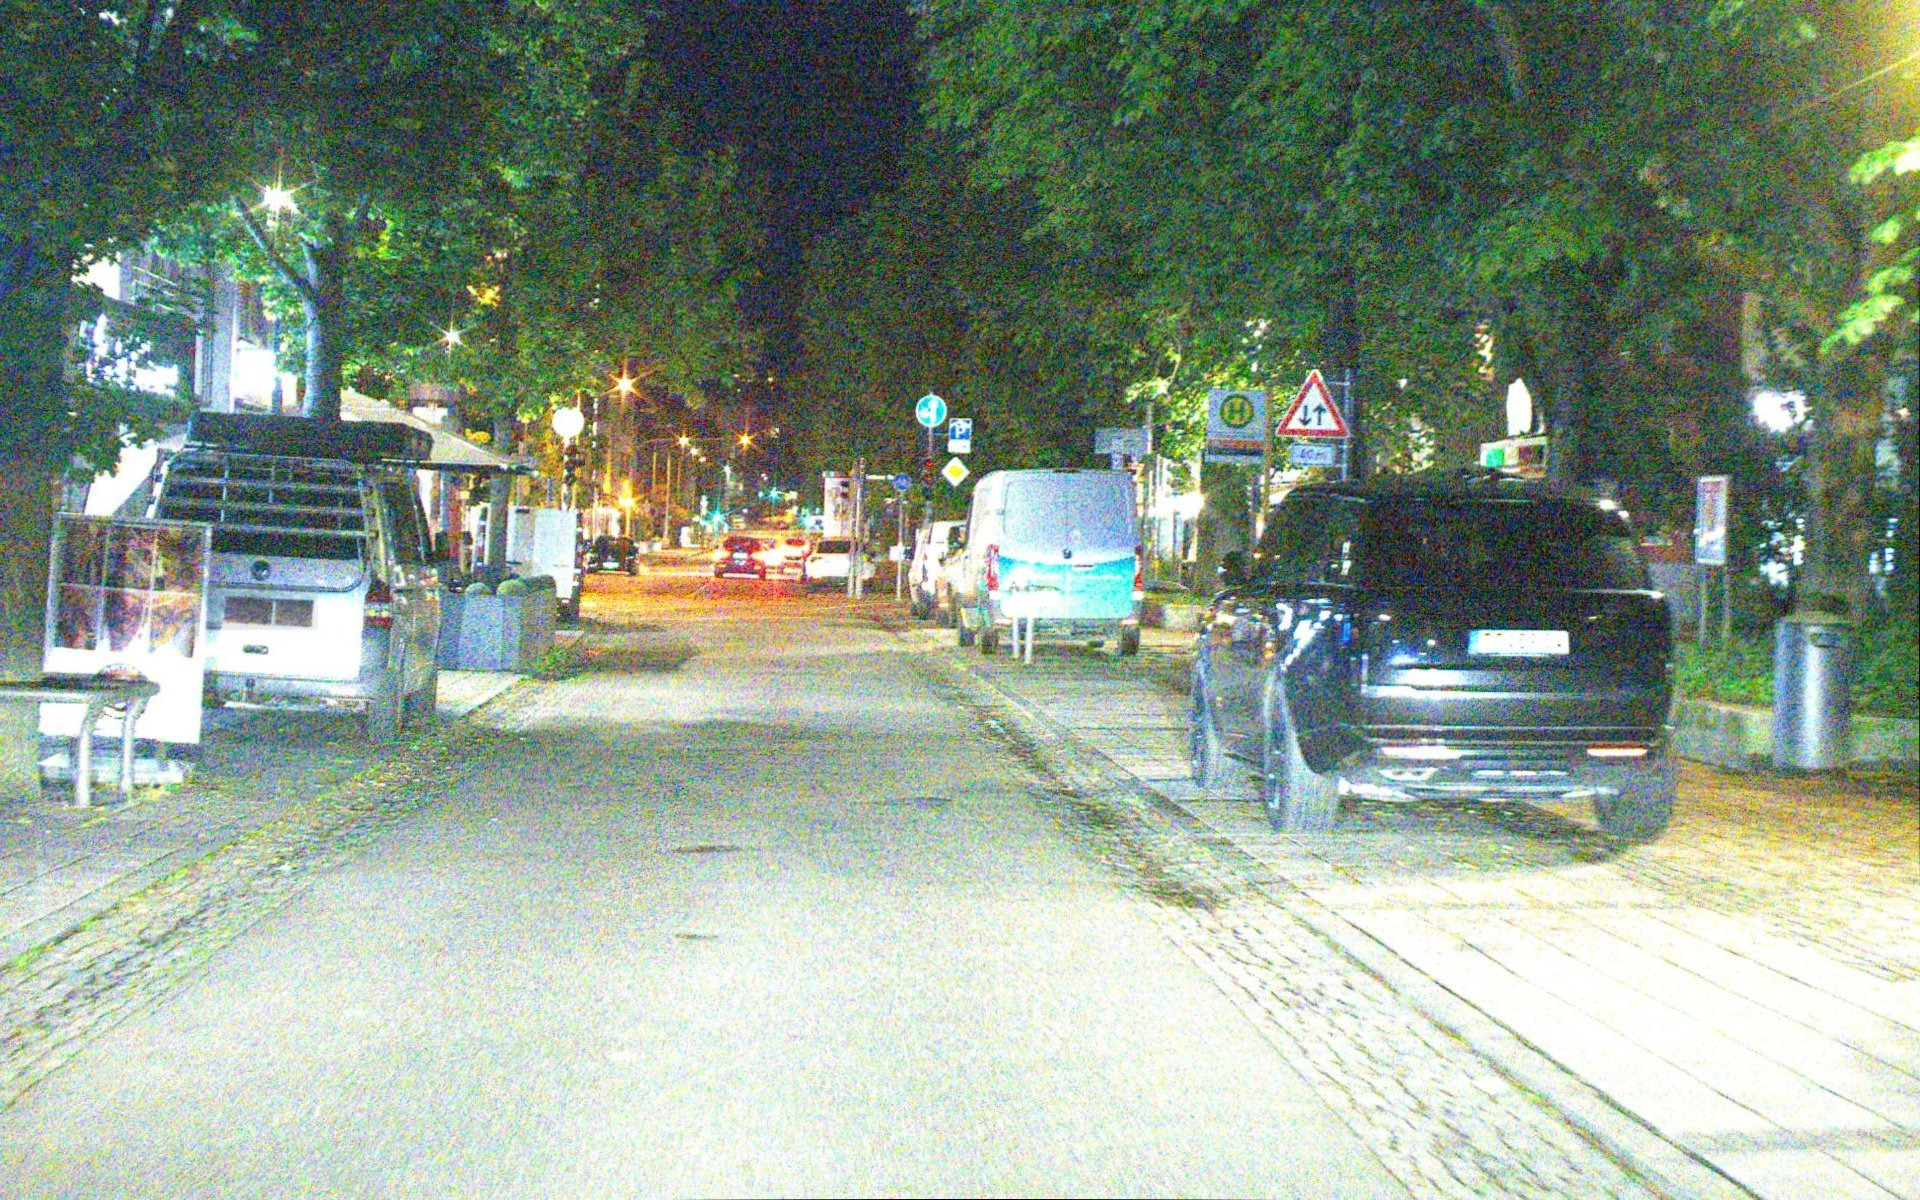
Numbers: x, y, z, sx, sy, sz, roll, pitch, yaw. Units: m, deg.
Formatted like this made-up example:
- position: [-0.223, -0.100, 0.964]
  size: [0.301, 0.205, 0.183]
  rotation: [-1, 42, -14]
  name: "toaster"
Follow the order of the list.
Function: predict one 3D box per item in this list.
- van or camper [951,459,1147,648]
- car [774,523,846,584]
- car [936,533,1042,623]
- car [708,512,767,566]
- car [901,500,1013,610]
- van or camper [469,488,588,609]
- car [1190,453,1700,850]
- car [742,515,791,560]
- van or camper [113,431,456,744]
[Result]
- position: [1.087, -0.608, 44.249]
  size: [2.108, 2.309, 4.263]
  rotation: [0, 1, -4]
  name: "van or camper"
- position: [-3.958, -1.228, 90.777]
  size: [1.839, 1.537, 3.846]
  rotation: [1, 1, -2]
  name: "car"
- position: [0.459, -0.391, 57.225]
  size: [1.531, 1.413, 3.846]
  rotation: [1, 1, -2]
  name: "car"
- position: [-7.931, -2.172, 122.537]
  size: [1.993, 1.817, 4.001]
  rotation: [2, 1, -4]
  name: "car"
- position: [-0.086, -0.834, 63.018]
  size: [1.839, 1.894, 3.846]
  rotation: [1, 1, -2]
  name: "car"
- position: [-7.489, -0.899, 59.787]
  size: [1.935, 1.982, 3.846]
  rotation: [1, 1, -7]
  name: "van or camper"
- position: [2.415, 0.204, 18.237]
  size: [1.814, 1.822, 4.348]
  rotation: [1, 1, -3]
  name: "car"
- position: [-8.226, -2.666, 145.970]
  size: [1.993, 1.817, 4.001]
  rotation: [2, 1, -4]
  name: "car"
- position: [-4.857, -0.123, 25.277]
  size: [1.866, 2.004, 4.263]
  rotation: [3, 1, -4]
  name: "van or camper"
